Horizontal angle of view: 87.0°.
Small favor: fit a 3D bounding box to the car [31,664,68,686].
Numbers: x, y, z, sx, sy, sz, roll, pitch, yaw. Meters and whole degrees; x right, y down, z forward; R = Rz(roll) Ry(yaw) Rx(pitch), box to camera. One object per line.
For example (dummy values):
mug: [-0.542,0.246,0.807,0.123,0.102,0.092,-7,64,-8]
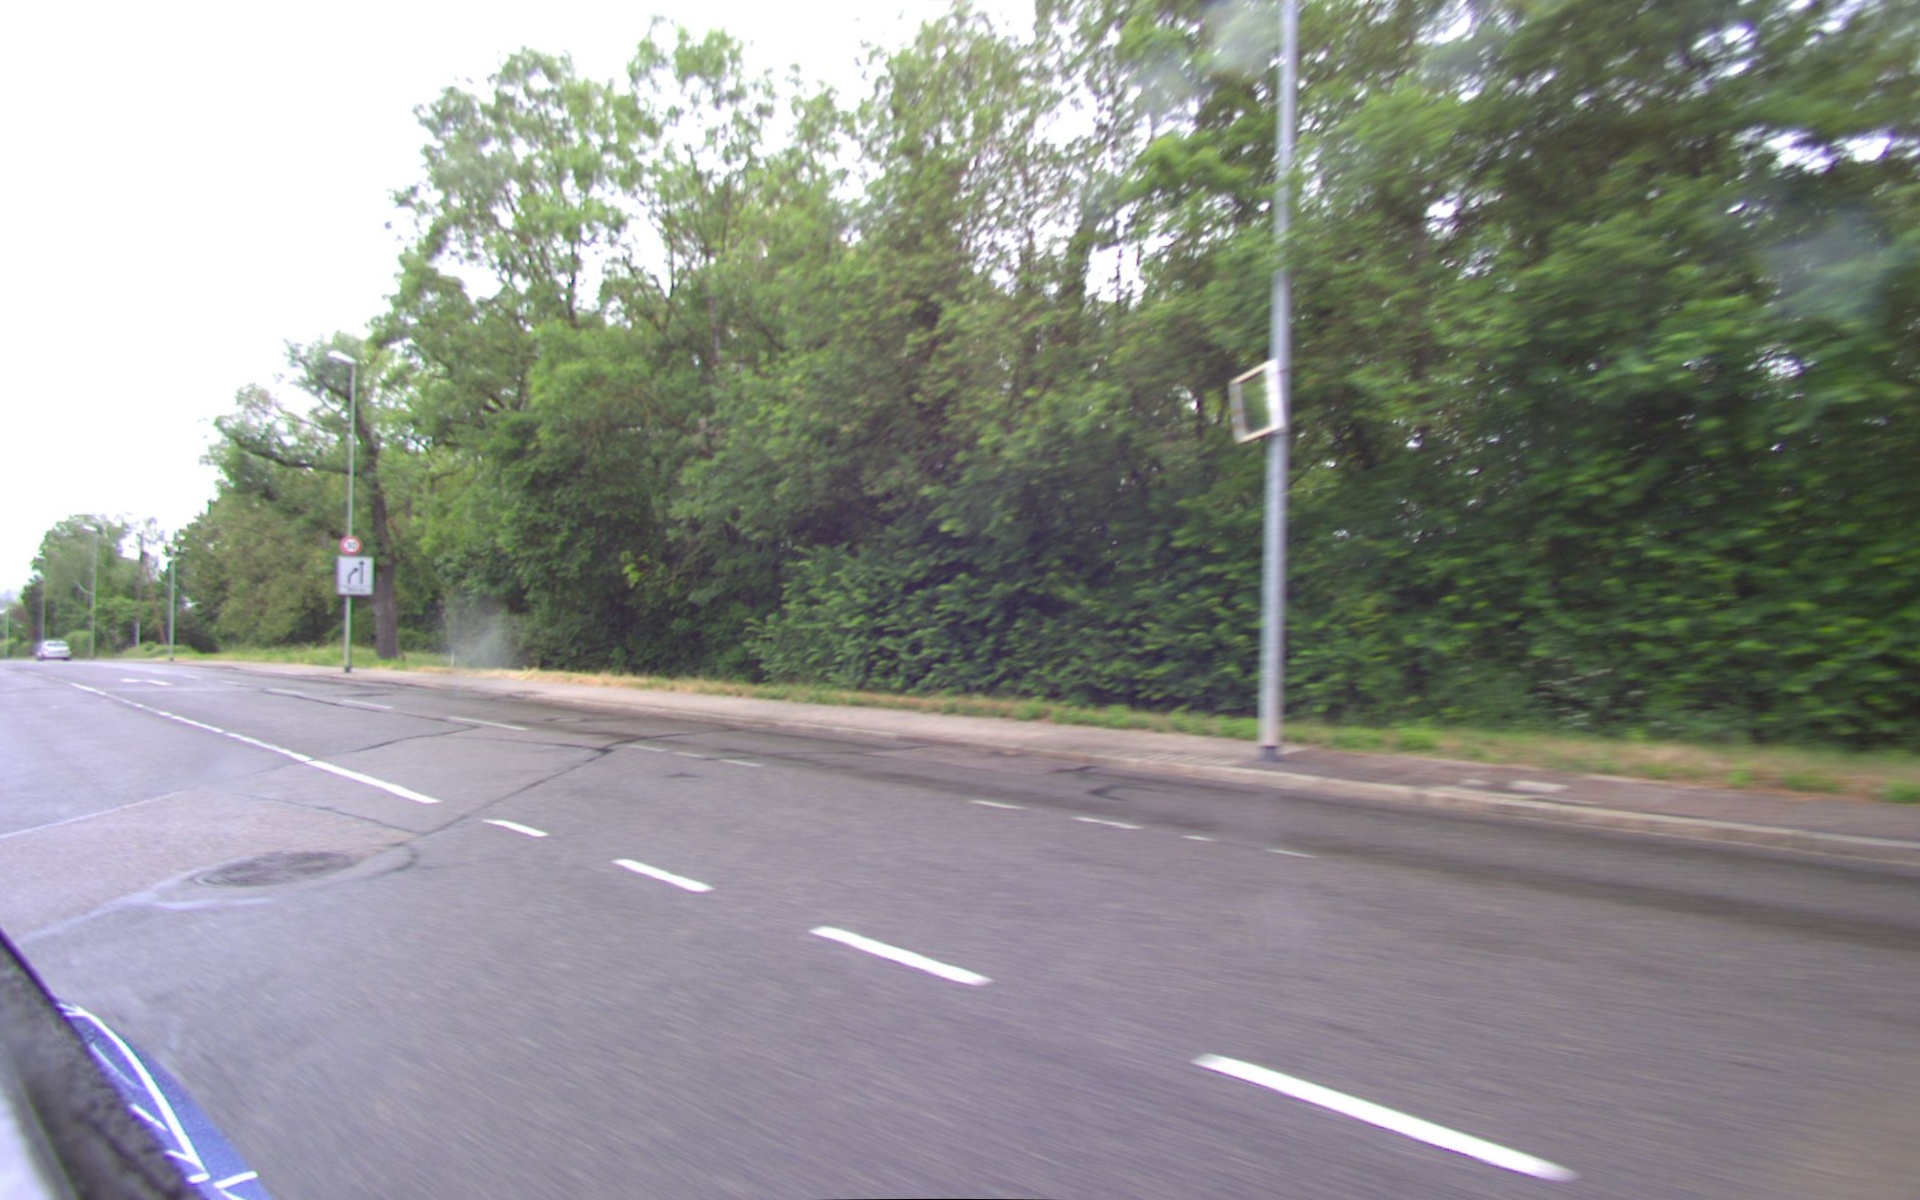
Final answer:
car: [-66.715,5.475,74.123,4.453,1.494,1.670,-2,-4,44]
